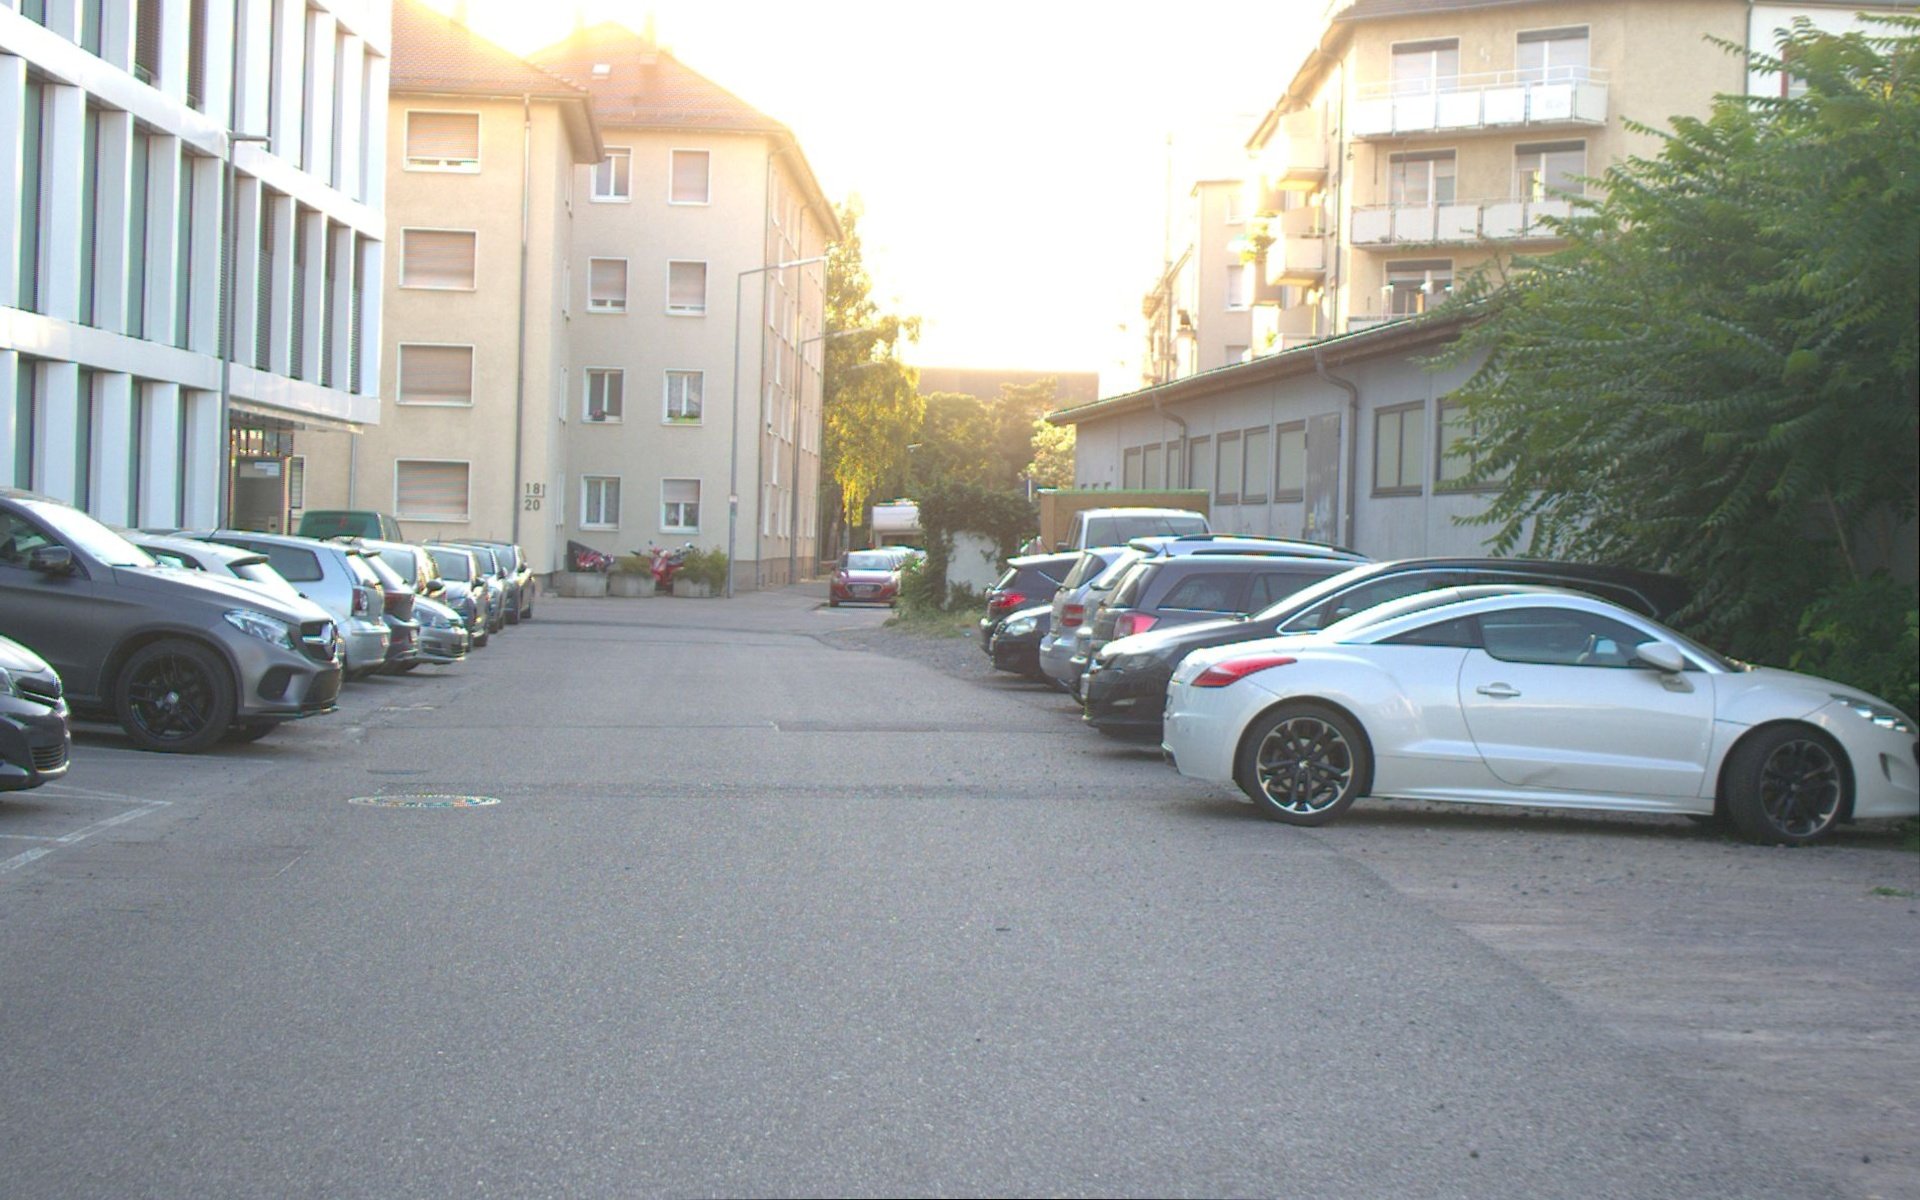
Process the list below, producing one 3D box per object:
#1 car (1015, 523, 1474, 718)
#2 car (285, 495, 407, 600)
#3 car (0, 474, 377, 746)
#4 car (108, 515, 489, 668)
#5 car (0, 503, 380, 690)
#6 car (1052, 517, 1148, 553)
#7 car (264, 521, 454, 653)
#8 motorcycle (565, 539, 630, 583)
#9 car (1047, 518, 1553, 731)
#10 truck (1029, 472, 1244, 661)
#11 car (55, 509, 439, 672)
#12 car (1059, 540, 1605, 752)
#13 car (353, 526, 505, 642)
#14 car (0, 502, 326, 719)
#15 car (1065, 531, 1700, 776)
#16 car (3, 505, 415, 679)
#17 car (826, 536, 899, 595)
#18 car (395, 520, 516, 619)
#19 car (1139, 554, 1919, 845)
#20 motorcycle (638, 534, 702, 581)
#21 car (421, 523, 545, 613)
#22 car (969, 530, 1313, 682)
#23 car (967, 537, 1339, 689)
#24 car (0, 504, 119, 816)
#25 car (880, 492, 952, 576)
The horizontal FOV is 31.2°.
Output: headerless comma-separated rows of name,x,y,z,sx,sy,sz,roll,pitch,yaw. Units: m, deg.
car,2.620,0.167,32.291,3.983,1.604,1.939,3,1,-4
car,-12.268,-1.093,68.911,1.797,1.973,4.690,2,2,-3
car,-6.584,-0.019,23.866,4.619,1.700,2.004,3,1,3
car,-7.428,-0.109,38.842,3.926,1.506,1.688,3,1,0
car,-7.489,-0.066,31.562,3.964,1.506,1.796,3,1,0
car,5.942,-2.763,146.124,3.987,1.525,1.659,0,1,0
car,-7.439,-0.194,42.899,1.648,1.434,4.202,5,1,-2
motorcycle,-9.062,-0.973,85.967,0.724,1.075,2.078,2,1,21
car,2.874,0.191,29.612,3.983,1.613,1.827,3,1,-6
truck,2.158,-0.447,43.789,2.097,2.193,5.712,2,1,-3
car,-7.478,-0.117,36.274,3.654,1.506,1.688,3,1,0
car,2.859,0.349,27.015,3.983,1.440,1.827,3,0,-2
car,-7.484,-0.266,48.757,1.648,1.434,4.185,5,1,-4
car,-6.929,0.028,26.510,3.667,1.506,1.696,3,1,3
car,2.924,0.366,24.490,4.202,1.498,1.890,3,0,-1
car,-7.384,-0.102,34.020,3.654,1.506,1.688,3,1,0
car,-2.541,-0.920,90.600,1.845,1.468,4.078,1,1,-1
car,-8.508,-0.547,58.245,1.710,1.474,4.186,5,1,-6
car,3.175,0.524,19.394,4.202,1.362,1.823,3,1,1
motorcycle,-7.453,-1.087,88.500,0.689,1.156,2.031,2,1,25
car,-8.829,-0.616,63.914,1.779,1.474,4.332,5,1,-3
car,2.037,0.047,39.548,3.759,1.530,1.892,2,2,-1
car,2.044,0.133,37.205,3.759,1.439,1.845,3,0,-4
car,-6.458,0.205,17.783,3.781,1.517,1.694,3,1,-3
car,-1.691,-2.601,136.031,2.620,3.257,7.697,0,1,1
